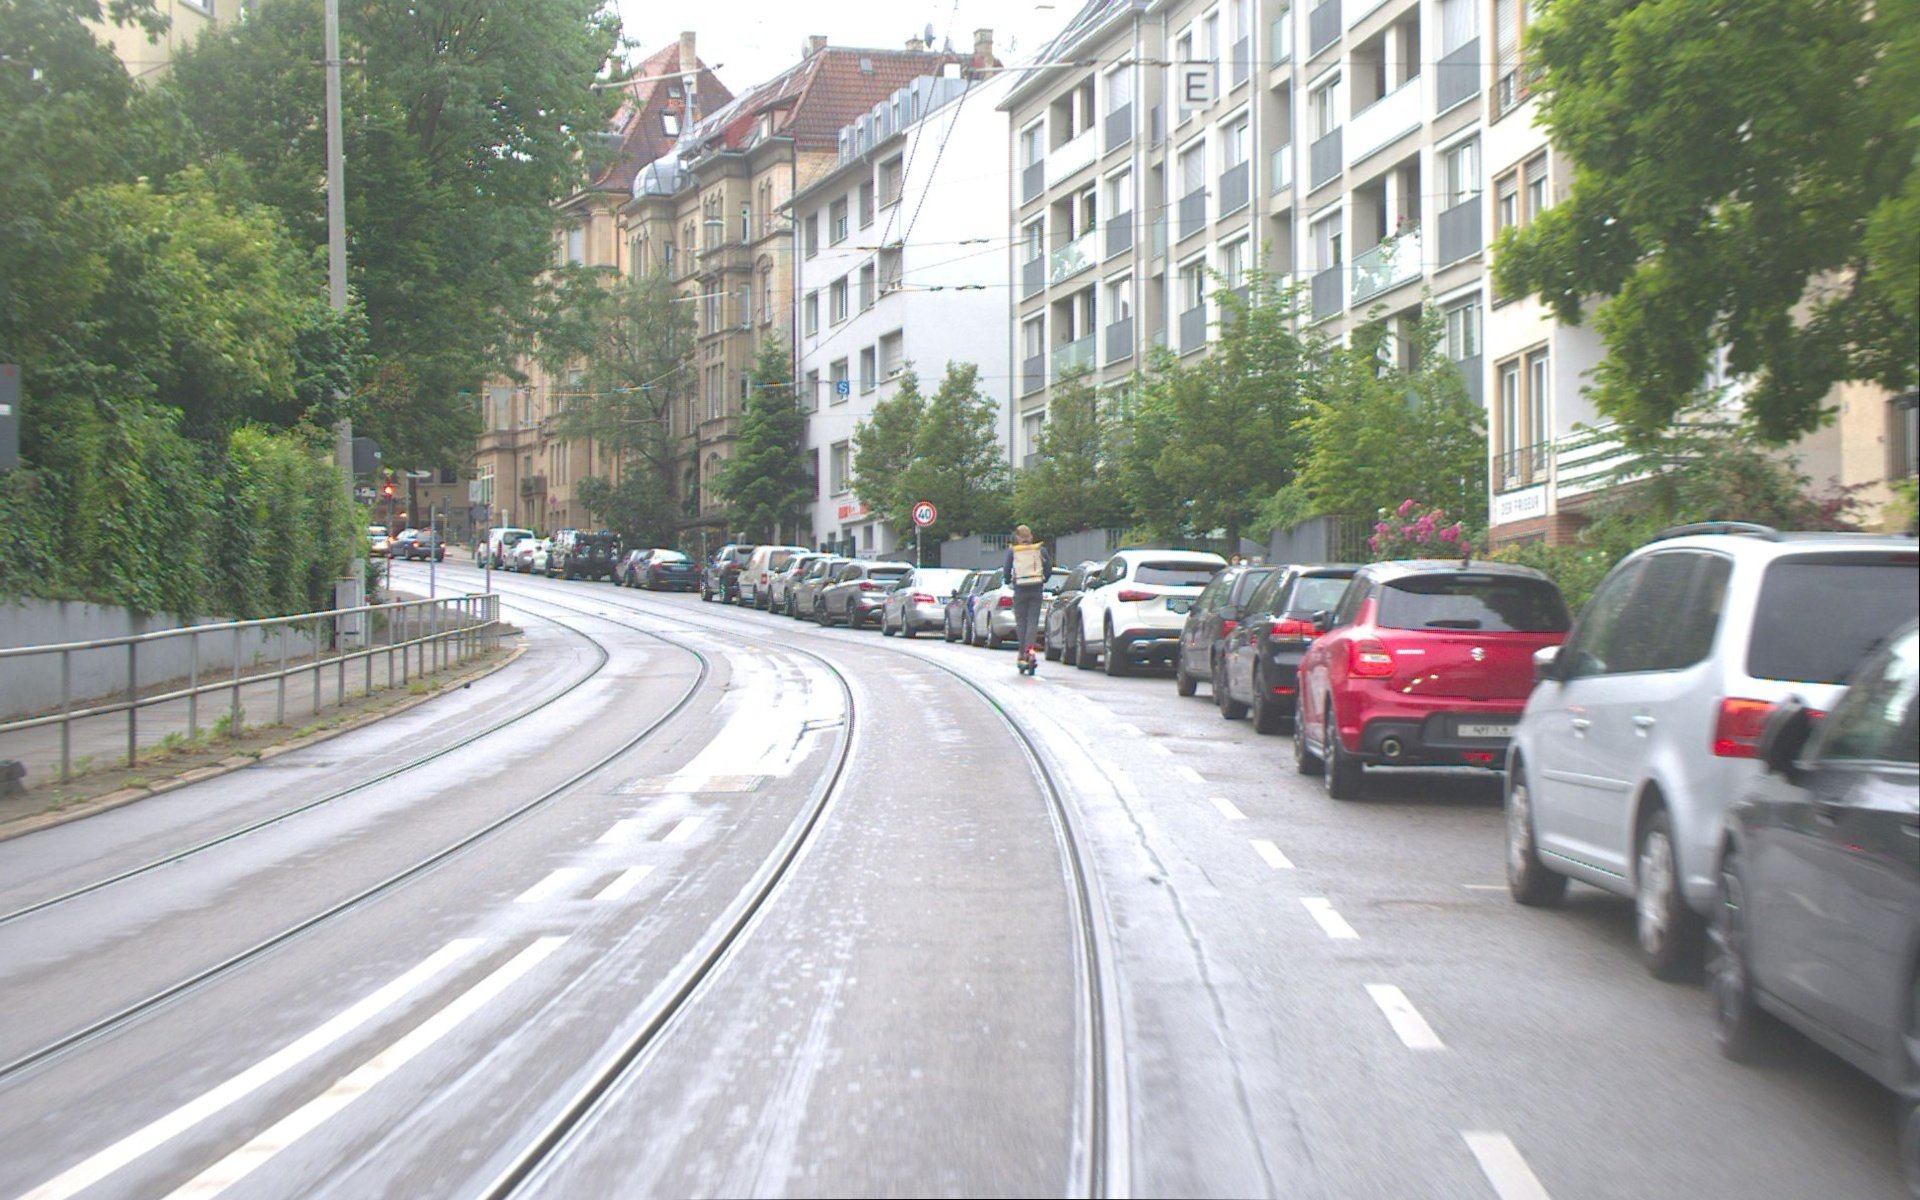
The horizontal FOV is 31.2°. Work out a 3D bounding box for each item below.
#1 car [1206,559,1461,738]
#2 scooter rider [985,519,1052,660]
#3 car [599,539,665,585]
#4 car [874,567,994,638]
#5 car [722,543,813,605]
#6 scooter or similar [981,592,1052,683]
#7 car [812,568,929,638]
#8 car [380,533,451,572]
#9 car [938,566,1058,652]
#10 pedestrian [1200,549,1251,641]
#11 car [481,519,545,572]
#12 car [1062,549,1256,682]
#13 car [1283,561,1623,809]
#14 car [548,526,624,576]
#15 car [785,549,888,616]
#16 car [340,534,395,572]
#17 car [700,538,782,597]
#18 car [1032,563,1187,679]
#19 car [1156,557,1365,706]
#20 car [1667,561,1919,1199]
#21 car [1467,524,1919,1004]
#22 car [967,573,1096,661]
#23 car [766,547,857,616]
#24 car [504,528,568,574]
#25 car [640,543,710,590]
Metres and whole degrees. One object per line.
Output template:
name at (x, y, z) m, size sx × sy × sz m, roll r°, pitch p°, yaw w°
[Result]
car at (3.226, 0.376, 30.401) m, size 1.683 × 1.432 × 4.064 m, roll 1°, pitch 1°, yaw -2°
scooter rider at (0.727, -0.139, 42.770) m, size 0.623 × 1.700 × 0.844 m, roll 3°, pitch 1°, yaw -8°
car at (-11.737, -1.379, 122.954) m, size 1.649 × 1.531 × 3.890 m, roll -3°, pitch 2°, yaw -15°
car at (-0.586, 0.024, 72.847) m, size 1.761 × 1.430 × 4.640 m, roll 0°, pitch 1°, yaw -10°
car at (-5.607, -0.773, 99.677) m, size 1.766 × 1.678 × 4.250 m, roll 1°, pitch 1°, yaw -15°
scooter or similar at (0.697, 0.449, 42.732) m, size 0.513 × 1.046 × 2.009 m, roll 2°, pitch 1°, yaw -8°
car at (-2.177, 0.040, 82.470) m, size 1.766 × 1.610 × 4.249 m, roll -1°, pitch 1°, yaw -16°
car at (-25.497, -2.234, 160.826) m, size 2.027 × 1.728 × 4.140 m, roll 1°, pitch 1°, yaw -28°
car at (0.689, 0.147, 65.465) m, size 1.701 × 1.507 × 3.715 m, roll 1°, pitch 1°, yaw -8°
pedestrian at (4.515, -0.086, 58.533) m, size 0.569 × 1.537 × 0.930 m, roll -2°, pitch 1°, yaw -12°
car at (-19.208, -2.352, 147.623) m, size 2.027 × 2.210 × 4.141 m, roll 1°, pitch 1°, yaw -17°
car at (2.536, 0.160, 44.765) m, size 1.837 × 1.567 × 4.249 m, roll 2°, pitch 1°, yaw -5°
car at (3.125, 0.486, 22.463) m, size 1.722 × 1.432 × 3.841 m, roll 1°, pitch 1°, yaw 1°
car at (-14.340, -1.890, 131.697) m, size 2.027 × 1.818 × 4.369 m, roll 1°, pitch 1°, yaw -17°
car at (-3.197, -0.471, 88.466) m, size 1.766 × 1.610 × 4.250 m, roll 1°, pitch 1°, yaw -14°
car at (-28.622, -2.295, 166.127) m, size 1.856 × 1.728 × 4.141 m, roll 1°, pitch 1°, yaw -20°
car at (-6.670, -0.996, 104.380) m, size 1.766 × 1.678 × 4.250 m, roll 1°, pitch 1°, yaw -13°
car at (2.140, 0.267, 50.393) m, size 1.701 × 1.507 × 4.572 m, roll 3°, pitch 1°, yaw -4°
car at (3.107, 0.285, 36.274) m, size 1.556 × 1.432 × 4.304 m, roll 1°, pitch 1°, yaw -4°
car at (3.028, 0.665, 8.811) m, size 1.766 × 1.386 × 4.000 m, roll 1°, pitch 2°, yaw 3°
car at (3.271, 0.520, 13.695) m, size 1.765 × 1.598 × 4.289 m, roll -1°, pitch 1°, yaw -1°
car at (1.226, 0.279, 60.932) m, size 1.661 × 1.466 × 4.509 m, roll 1°, pitch 0°, yaw -6°
car at (-4.078, -0.521, 93.971) m, size 1.766 × 1.781 × 4.249 m, roll 1°, pitch 1°, yaw -12°
car at (-17.602, -2.033, 142.559) m, size 2.027 × 1.818 × 4.141 m, roll 1°, pitch 1°, yaw -15°
car at (-9.795, -1.175, 118.010) m, size 1.766 × 1.512 × 4.141 m, roll 1°, pitch 1°, yaw -13°
